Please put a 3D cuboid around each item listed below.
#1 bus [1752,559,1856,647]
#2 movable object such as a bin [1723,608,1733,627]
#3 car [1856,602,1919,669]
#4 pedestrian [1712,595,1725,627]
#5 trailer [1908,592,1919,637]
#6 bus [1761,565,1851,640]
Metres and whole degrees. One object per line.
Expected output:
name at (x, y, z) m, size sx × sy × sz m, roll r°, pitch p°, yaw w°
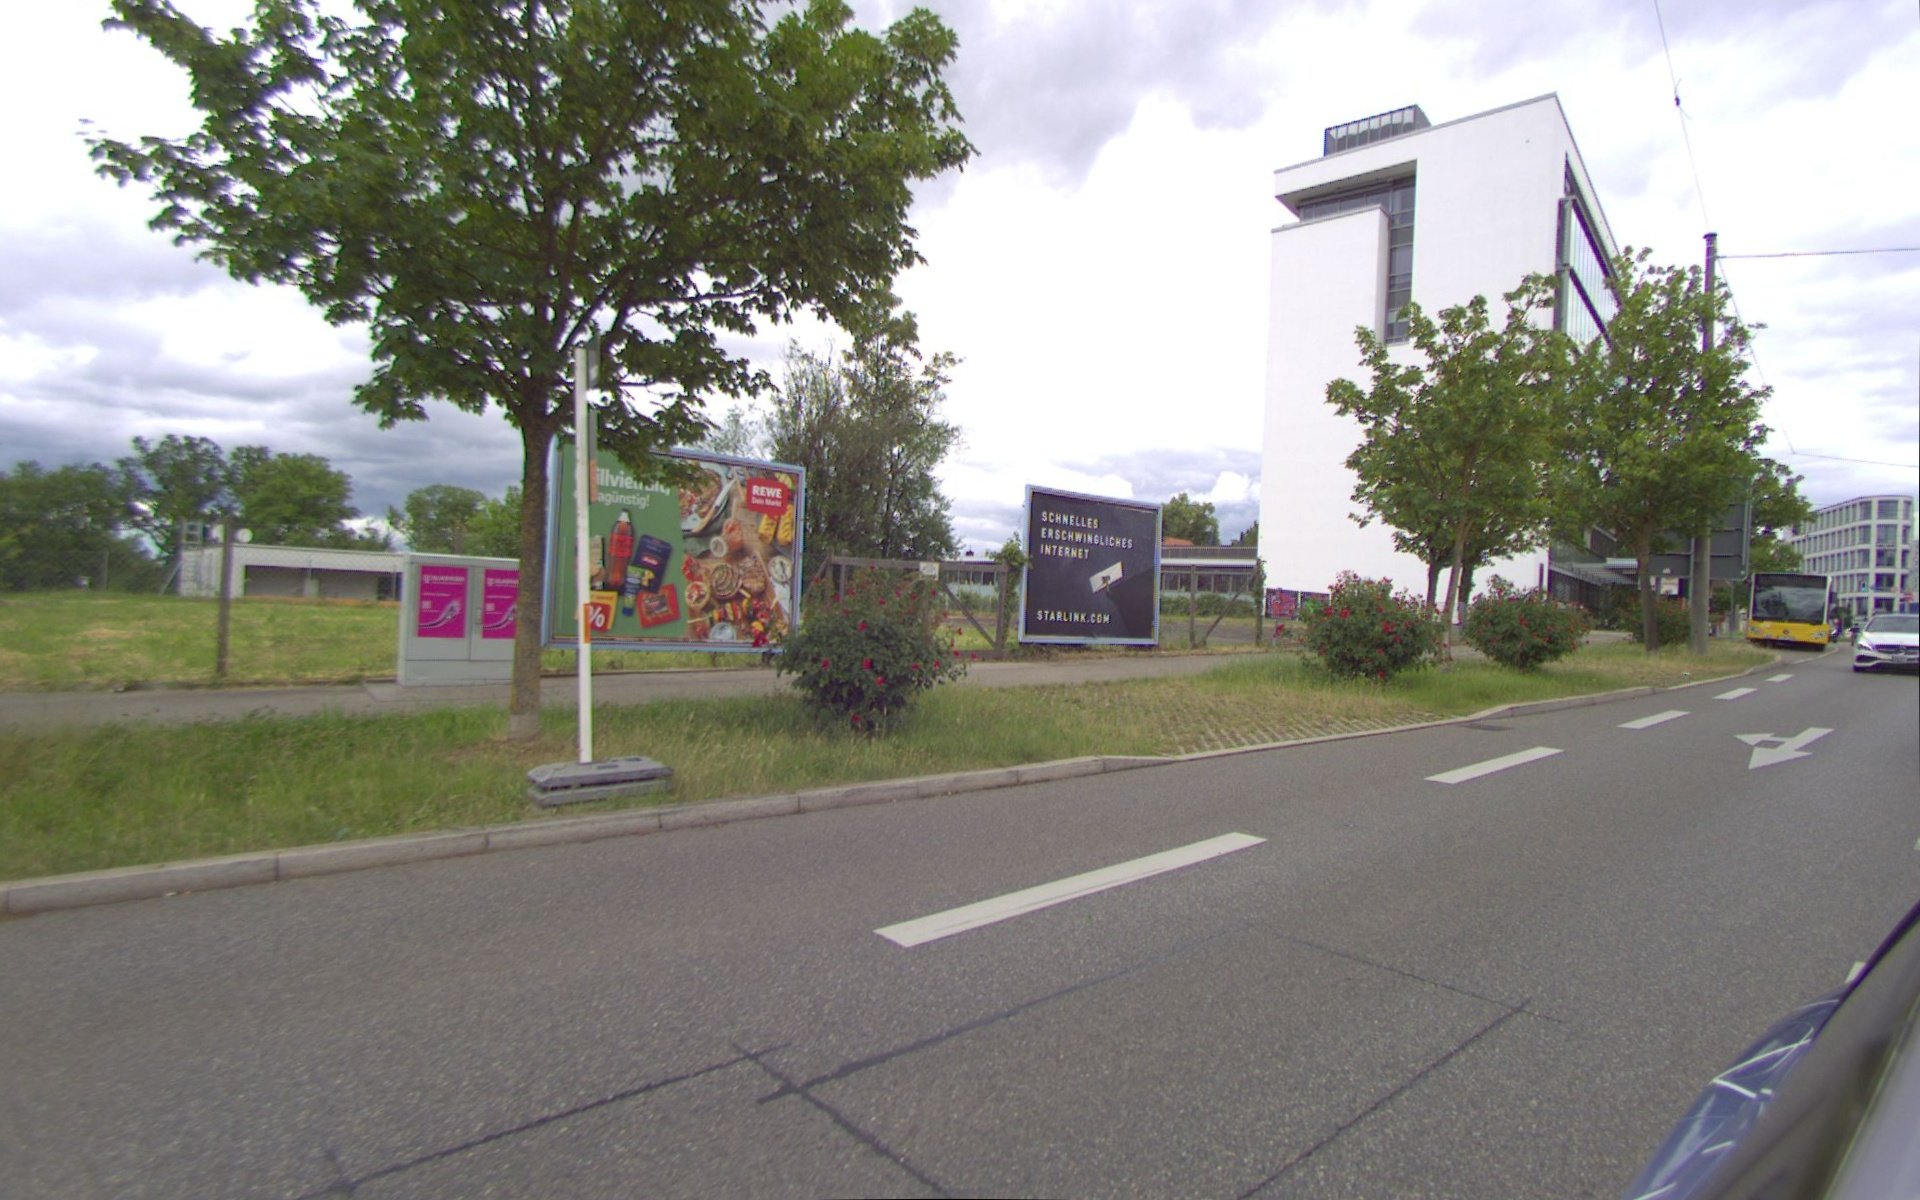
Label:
bus at (35.430, 0.085, 42.479) m, size 2.979 × 3.281 × 9.720 m, roll 2°, pitch 1°, yaw 40°
movable object such as a bin at (43.835, 0.997, 57.775) m, size 0.419 × 1.042 × 0.525 m, roll 2°, pitch 0°, yaw 40°
car at (23.474, 0.881, 25.005) m, size 1.866 × 1.524 × 4.702 m, roll 1°, pitch -1°, yaw 40°
pedestrian at (42.928, 0.621, 57.283) m, size 0.507 × 1.757 × 0.564 m, roll 2°, pitch 0°, yaw 40°
trailer at (91.499, 1.344, 93.465) m, size 3.091 × 4.323 × 14.666 m, roll 2°, pitch 0°, yaw 33°
bus at (41.422, 0.112, 49.608) m, size 3.033 × 3.276 × 9.201 m, roll 3°, pitch 1°, yaw 40°
